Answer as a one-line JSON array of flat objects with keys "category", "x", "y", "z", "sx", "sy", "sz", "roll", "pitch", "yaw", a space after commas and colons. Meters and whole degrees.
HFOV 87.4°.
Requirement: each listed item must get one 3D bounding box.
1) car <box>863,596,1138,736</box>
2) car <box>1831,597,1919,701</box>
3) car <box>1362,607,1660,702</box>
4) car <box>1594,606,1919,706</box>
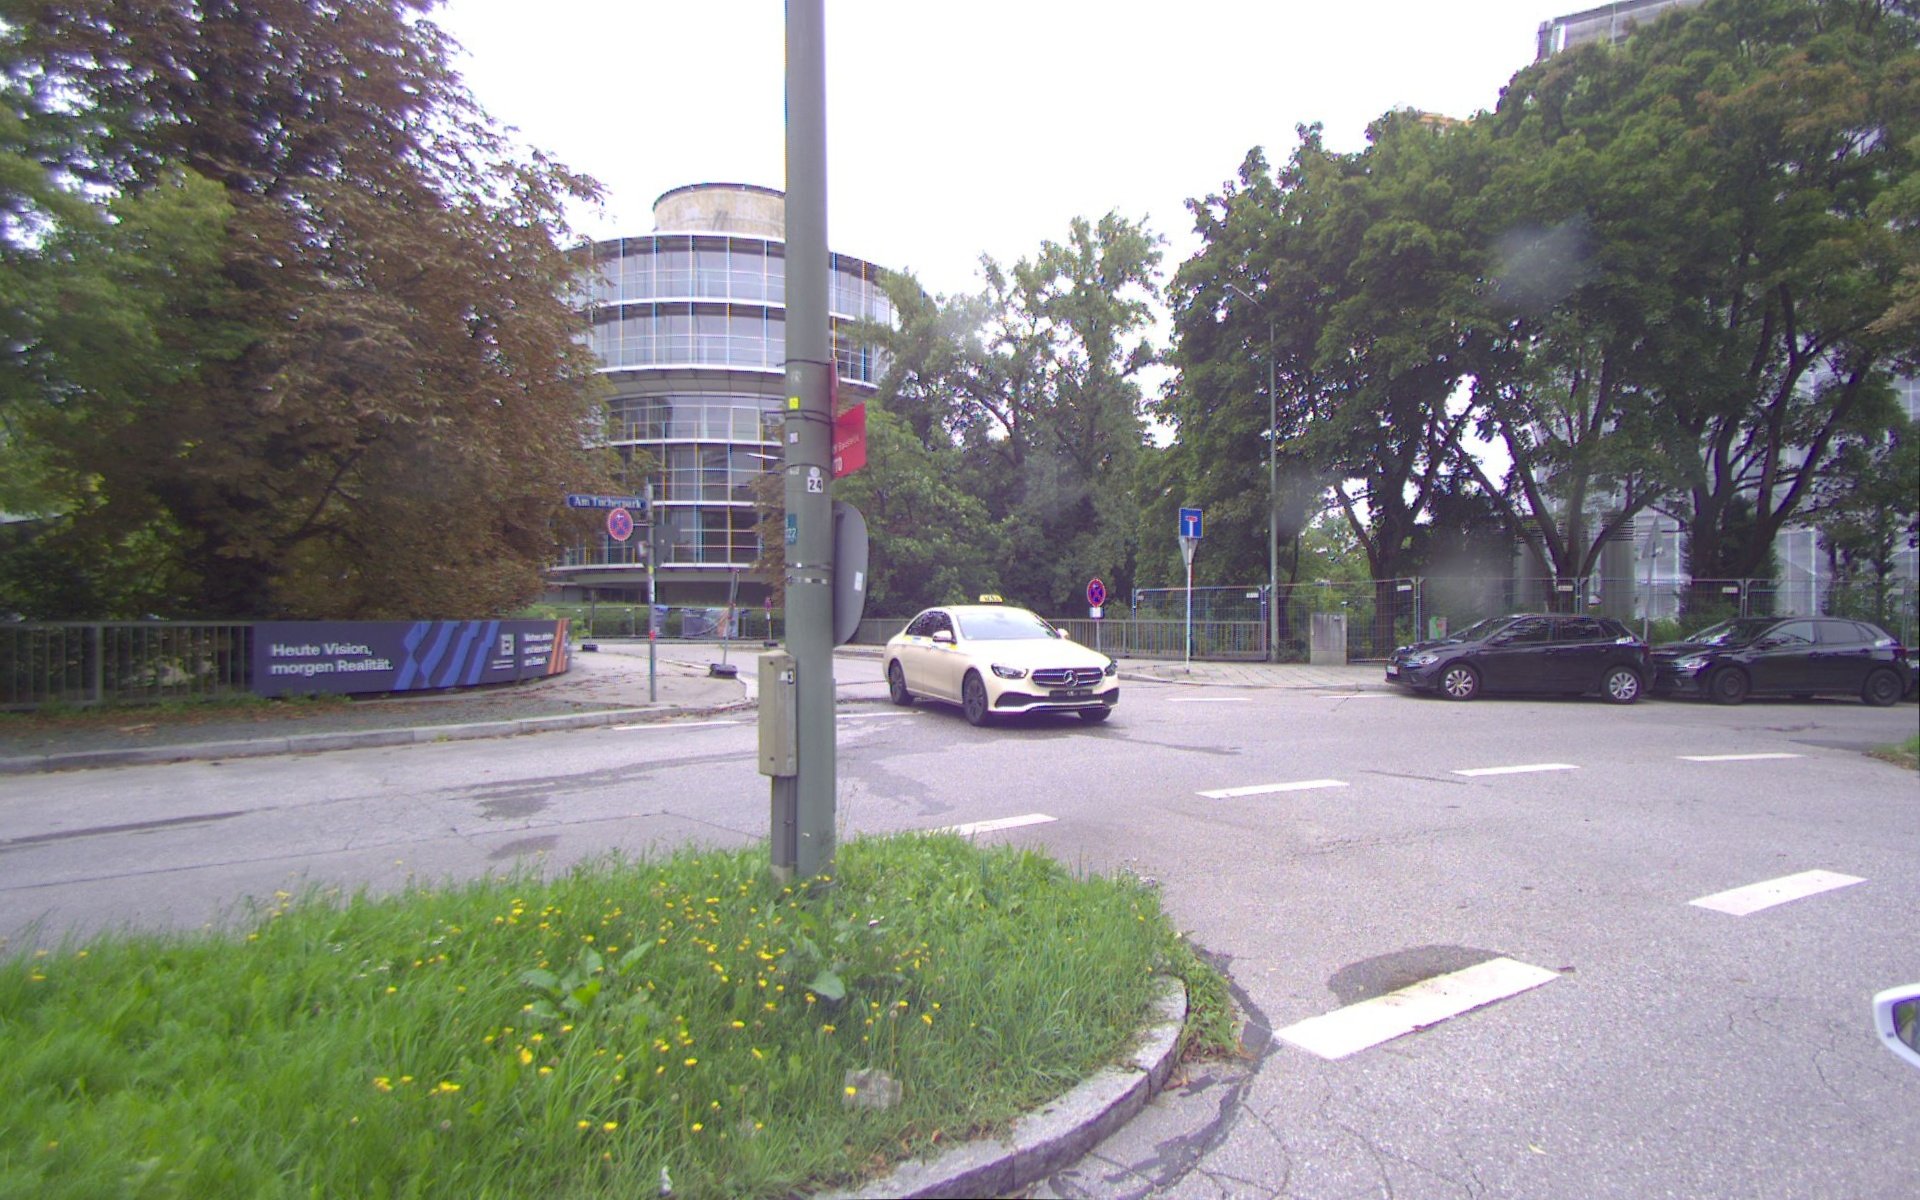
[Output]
[{"category": "car", "x": 0.313, "y": 0.779, "z": 13.848, "sx": 1.868, "sy": 1.566, "sz": 4.825, "roll": 1, "pitch": -1, "yaw": -24}, {"category": "car", "x": 17.933, "y": 0.857, "z": 17.401, "sx": 3.920, "sy": 1.728, "sz": 2.001, "roll": 0, "pitch": -1, "yaw": 2}, {"category": "car", "x": 9.223, "y": 0.876, "z": 17.106, "sx": 3.961, "sy": 1.452, "sz": 2.000, "roll": 0, "pitch": 1, "yaw": 3}, {"category": "car", "x": 13.333, "y": 0.906, "z": 17.003, "sx": 3.920, "sy": 1.561, "sz": 2.001, "roll": 0, "pitch": -1, "yaw": 2}]
